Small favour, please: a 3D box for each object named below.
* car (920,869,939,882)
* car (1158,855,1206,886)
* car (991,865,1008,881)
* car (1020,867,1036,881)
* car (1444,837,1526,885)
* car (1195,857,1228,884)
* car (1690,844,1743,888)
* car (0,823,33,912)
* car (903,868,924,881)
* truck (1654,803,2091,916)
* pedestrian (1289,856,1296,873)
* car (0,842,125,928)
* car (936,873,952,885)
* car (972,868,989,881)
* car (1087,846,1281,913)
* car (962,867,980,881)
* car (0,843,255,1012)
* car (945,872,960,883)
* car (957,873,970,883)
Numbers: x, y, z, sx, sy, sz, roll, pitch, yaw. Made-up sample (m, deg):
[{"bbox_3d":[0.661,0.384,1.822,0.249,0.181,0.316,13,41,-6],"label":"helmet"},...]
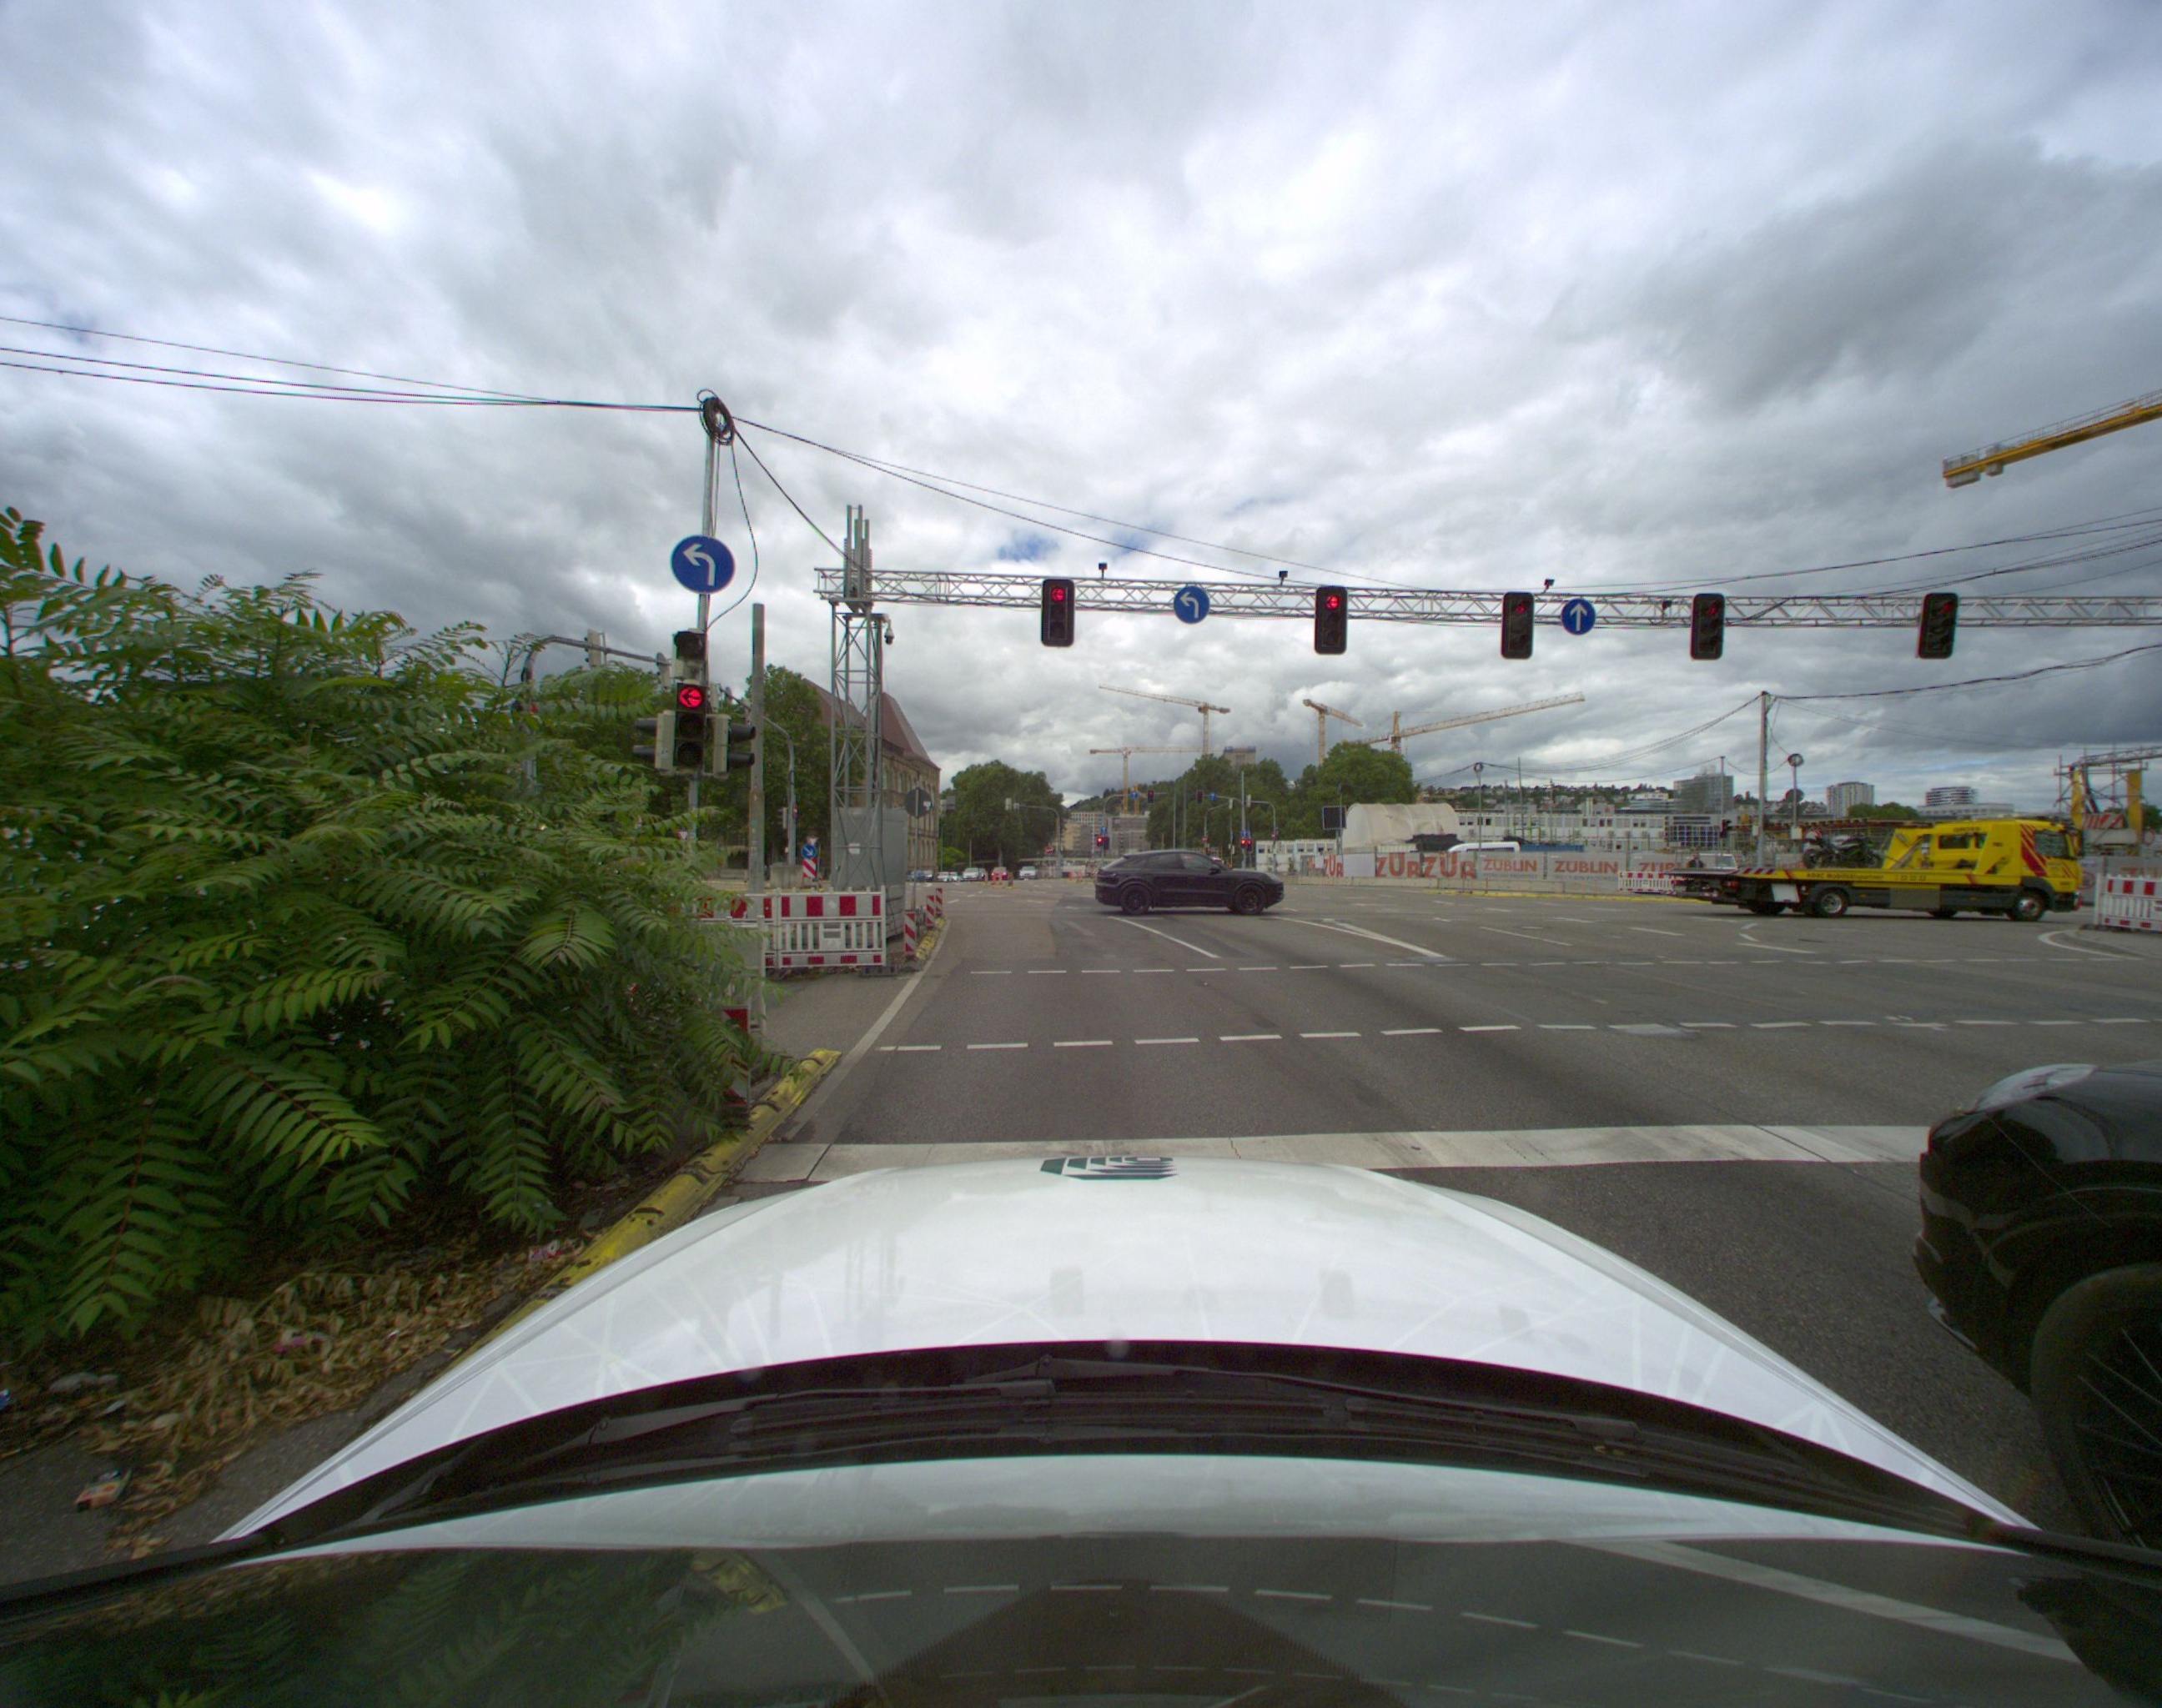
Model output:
[{"bbox_3d":[-17.397,2.494,93.514,1.673,1.398,3.677,0,-1,-4],"label":"car"},{"bbox_3d":[5.948,0.941,48.566,1.830,1.746,4.244,0,-1,-8],"label":"car"},{"bbox_3d":[-8.478,2.000,85.100,1.673,1.580,3.677,0,-1,-4],"label":"car"},{"bbox_3d":[-5.582,2.072,85.320,1.673,1.398,3.677,0,-1,-4],"label":"car"},{"bbox_3d":[23.229,0.421,46.980,3.957,2.662,1.688,-1,-1,15],"label":"car"},{"bbox_3d":[8.478,1.055,53.008,1.670,1.702,3.375,0,-1,2],"label":"car"},{"bbox_3d":[30.131,0.558,38.706,1.755,1.954,3.146,-1,-1,34],"label":"car"},{"bbox_3d":[-30.723,0.364,20.347,5.745,2.305,2.301,0,-1,-3],"label":"car"},{"bbox_3d":[-17.904,2.177,87.096,1.673,1.398,3.677,0,-1,-4],"label":"car"},{"bbox_3d":[20.485,0.133,21.458,8.949,2.803,2.627,0,0,1],"label":"truck"},{"bbox_3d":[21.715,1.109,83.689,0.528,1.748,0.465,0,0,-22],"label":"pedestrian"},{"bbox_3d":[-22.482,0.605,16.572,4.073,1.625,1.909,-1,1,6],"label":"car"},{"bbox_3d":[-17.122,3.138,101.975,1.673,1.398,3.677,0,-1,-4],"label":"car"},{"bbox_3d":[-11.364,2.272,92.242,1.673,1.398,3.677,0,-1,-4],"label":"car"},{"bbox_3d":[2.579,0.632,21.294,4.795,1.625,2.019,0,-1,-2],"label":"car"},{"bbox_3d":[-11.618,2.123,86.085,1.673,1.398,3.677,0,-1,-4],"label":"car"},{"bbox_3d":[-12.112,0.756,9.850,1.881,1.691,4.227,0,-1,-30],"label":"car"},{"bbox_3d":[-17.068,3.153,108.223,1.672,1.398,3.677,-1,-3,-3],"label":"car"},{"bbox_3d":[-17.744,3.618,122.801,1.673,1.398,3.677,0,-1,-4],"label":"car"}]
